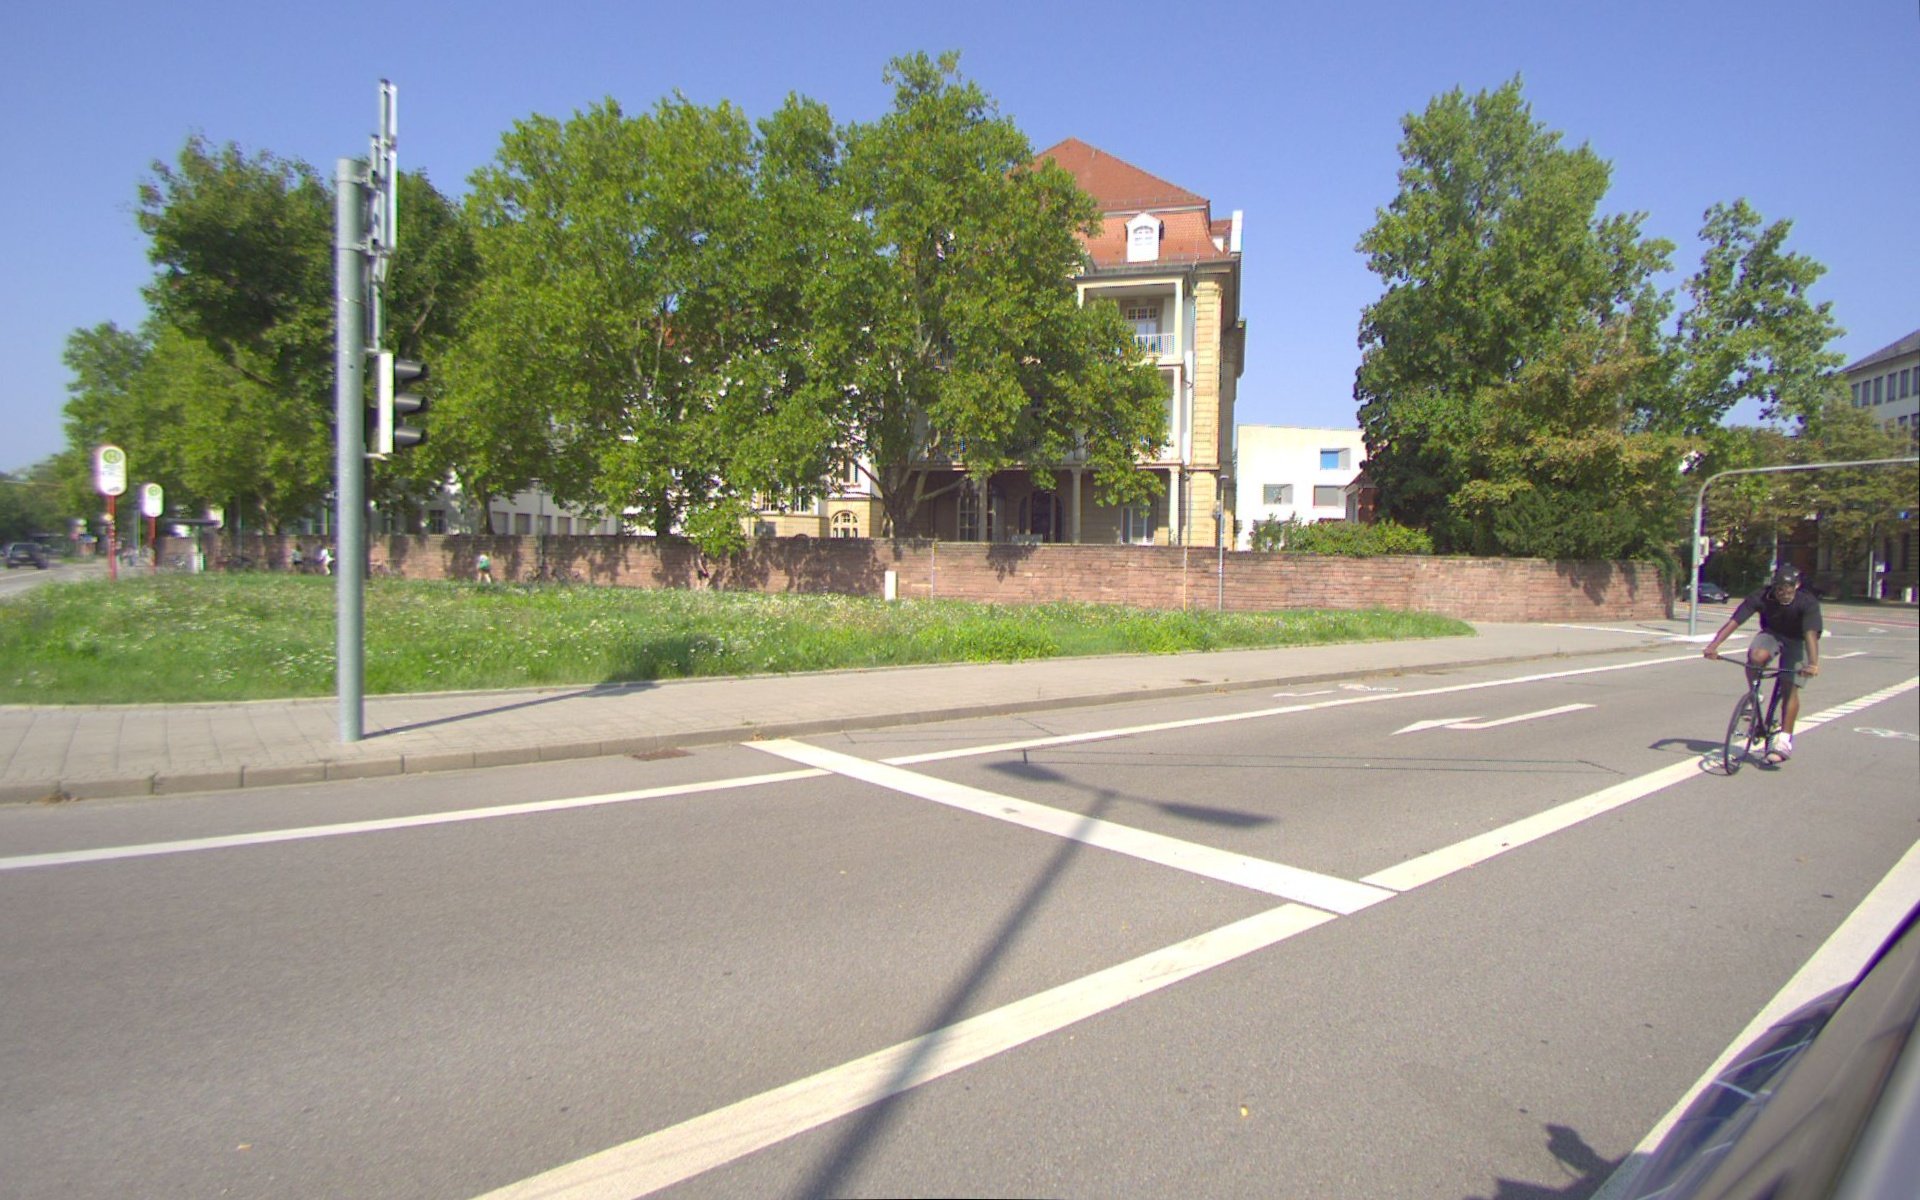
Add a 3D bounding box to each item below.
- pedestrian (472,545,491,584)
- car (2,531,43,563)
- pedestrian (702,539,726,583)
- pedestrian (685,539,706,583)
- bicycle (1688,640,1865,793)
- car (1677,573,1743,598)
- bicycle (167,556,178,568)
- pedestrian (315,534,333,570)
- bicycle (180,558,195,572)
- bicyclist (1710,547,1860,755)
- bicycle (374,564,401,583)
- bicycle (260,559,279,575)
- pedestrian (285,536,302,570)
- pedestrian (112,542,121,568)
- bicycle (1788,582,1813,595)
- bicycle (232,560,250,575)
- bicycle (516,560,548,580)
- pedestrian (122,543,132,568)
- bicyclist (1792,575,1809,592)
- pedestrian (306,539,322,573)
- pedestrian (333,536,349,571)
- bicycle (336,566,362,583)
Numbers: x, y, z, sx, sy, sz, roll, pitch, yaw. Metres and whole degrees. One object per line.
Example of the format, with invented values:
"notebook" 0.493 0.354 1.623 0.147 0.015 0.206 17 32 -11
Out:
"pedestrian" -20.680 -1.530 43.717 0.589 1.672 0.478 -1 0 30
"car" -64.867 -3.620 70.021 3.988 2.039 1.889 0 0 45
"pedestrian" -9.662 -1.526 39.822 0.709 1.704 0.591 2 2 20
"pedestrian" -10.223 -1.491 39.141 0.587 1.672 0.480 -1 0 21
"bicycle" 6.824 0.893 8.415 2.113 0.988 0.773 -1 3 -41
"car" 52.142 -1.036 70.463 1.968 1.630 4.236 0 1 10
"bicycle" -55.506 -2.701 71.330 0.427 0.845 1.546 -1 3 -44
"pedestrian" -30.242 -2.268 48.136 0.590 1.672 0.513 -1 0 34
"bicycle" -50.326 -2.290 65.891 1.542 0.845 0.428 3 3 39
"bicyclist" 6.840 0.371 8.391 0.973 1.598 0.773 -1 3 -41
"bicycle" -27.621 -1.284 48.802 1.537 0.845 0.429 2 2 30
"bicycle" -38.192 -1.829 55.982 1.542 0.845 0.428 3 3 38
"pedestrian" -32.564 -2.290 49.436 0.498 1.591 0.529 -1 0 32
"pedestrian" -58.146 -3.070 69.774 0.477 1.762 0.504 0 0 -41
"bicycle" 65.144 -0.883 78.469 0.657 0.968 2.077 2 2 16
"bicycle" -41.557 -1.893 58.469 1.542 0.845 0.428 3 3 38
"bicycle" -18.596 -1.321 43.956 1.535 0.845 0.430 2 2 27
"pedestrian" -57.619 -3.077 69.997 0.477 1.762 0.504 0 0 -41
"bicyclist" 65.126 -1.283 78.417 0.657 1.356 0.920 2 2 16
"pedestrian" -32.282 -2.192 50.548 0.590 1.672 0.477 -1 0 34
"pedestrian" -29.900 -2.238 48.894 0.590 1.672 0.477 -1 0 34
"bicycle" -30.502 -1.274 50.516 1.537 0.845 0.429 2 2 30
